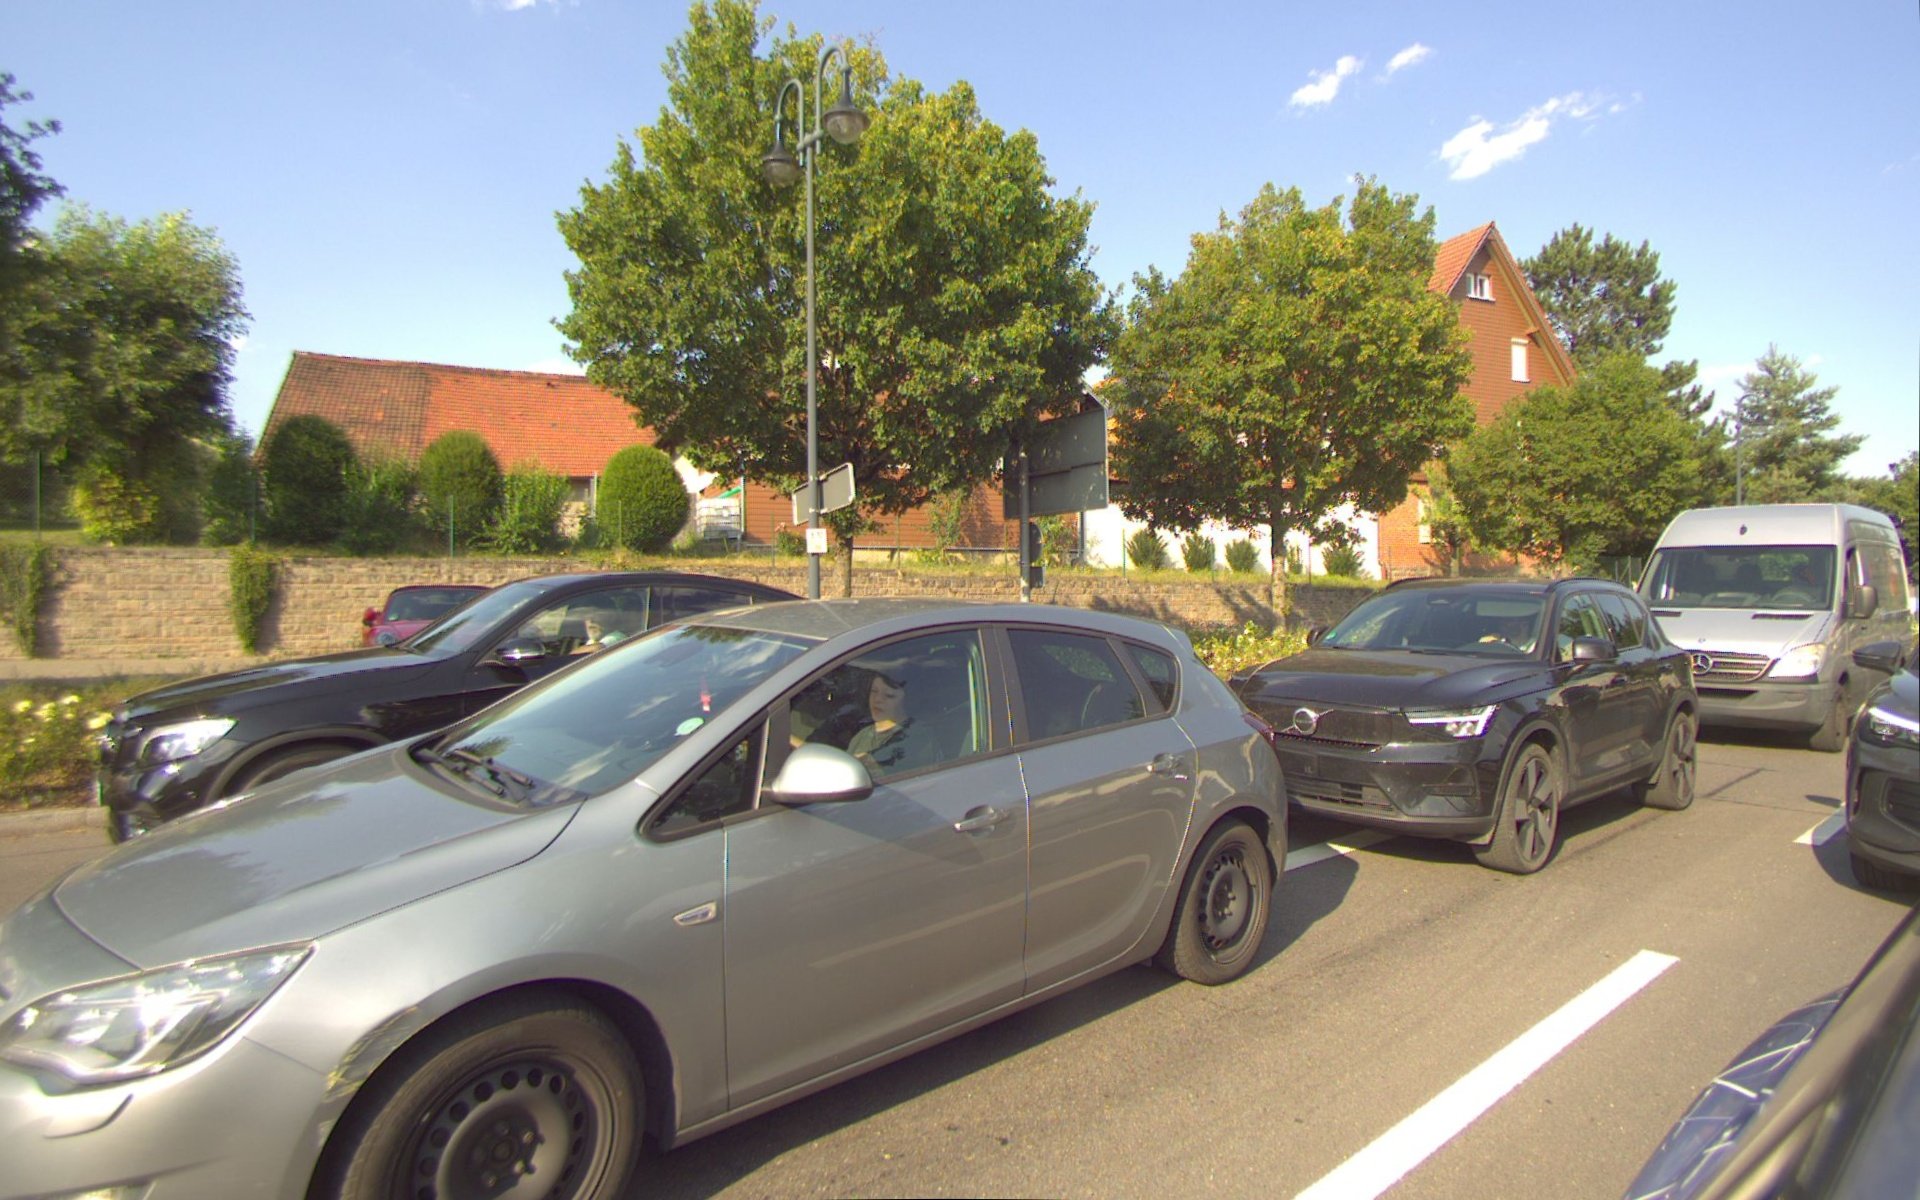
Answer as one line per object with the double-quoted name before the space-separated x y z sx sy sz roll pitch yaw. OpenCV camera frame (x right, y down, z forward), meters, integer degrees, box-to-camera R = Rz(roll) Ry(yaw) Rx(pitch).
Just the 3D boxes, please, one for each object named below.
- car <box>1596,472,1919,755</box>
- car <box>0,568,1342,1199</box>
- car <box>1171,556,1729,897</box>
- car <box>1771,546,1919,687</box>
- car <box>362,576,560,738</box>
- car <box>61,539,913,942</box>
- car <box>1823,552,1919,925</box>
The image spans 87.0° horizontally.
"car" 9.723 0.087 11.961 5.938 2.601 1.992 0 1 -40
"car" -0.562 0.666 3.513 4.244 1.471 1.765 0 2 -42
"car" 3.523 0.569 6.908 4.242 1.629 1.844 0 2 -40
"car" 15.058 0.208 16.663 4.242 2.055 1.844 0 2 -40
"car" -5.900 0.523 11.705 1.743 1.510 4.156 0 0 -31
"car" -2.539 0.528 6.309 1.762 1.628 4.493 2 2 44
"car" 6.210 0.619 5.328 4.242 1.629 1.844 0 2 -40
